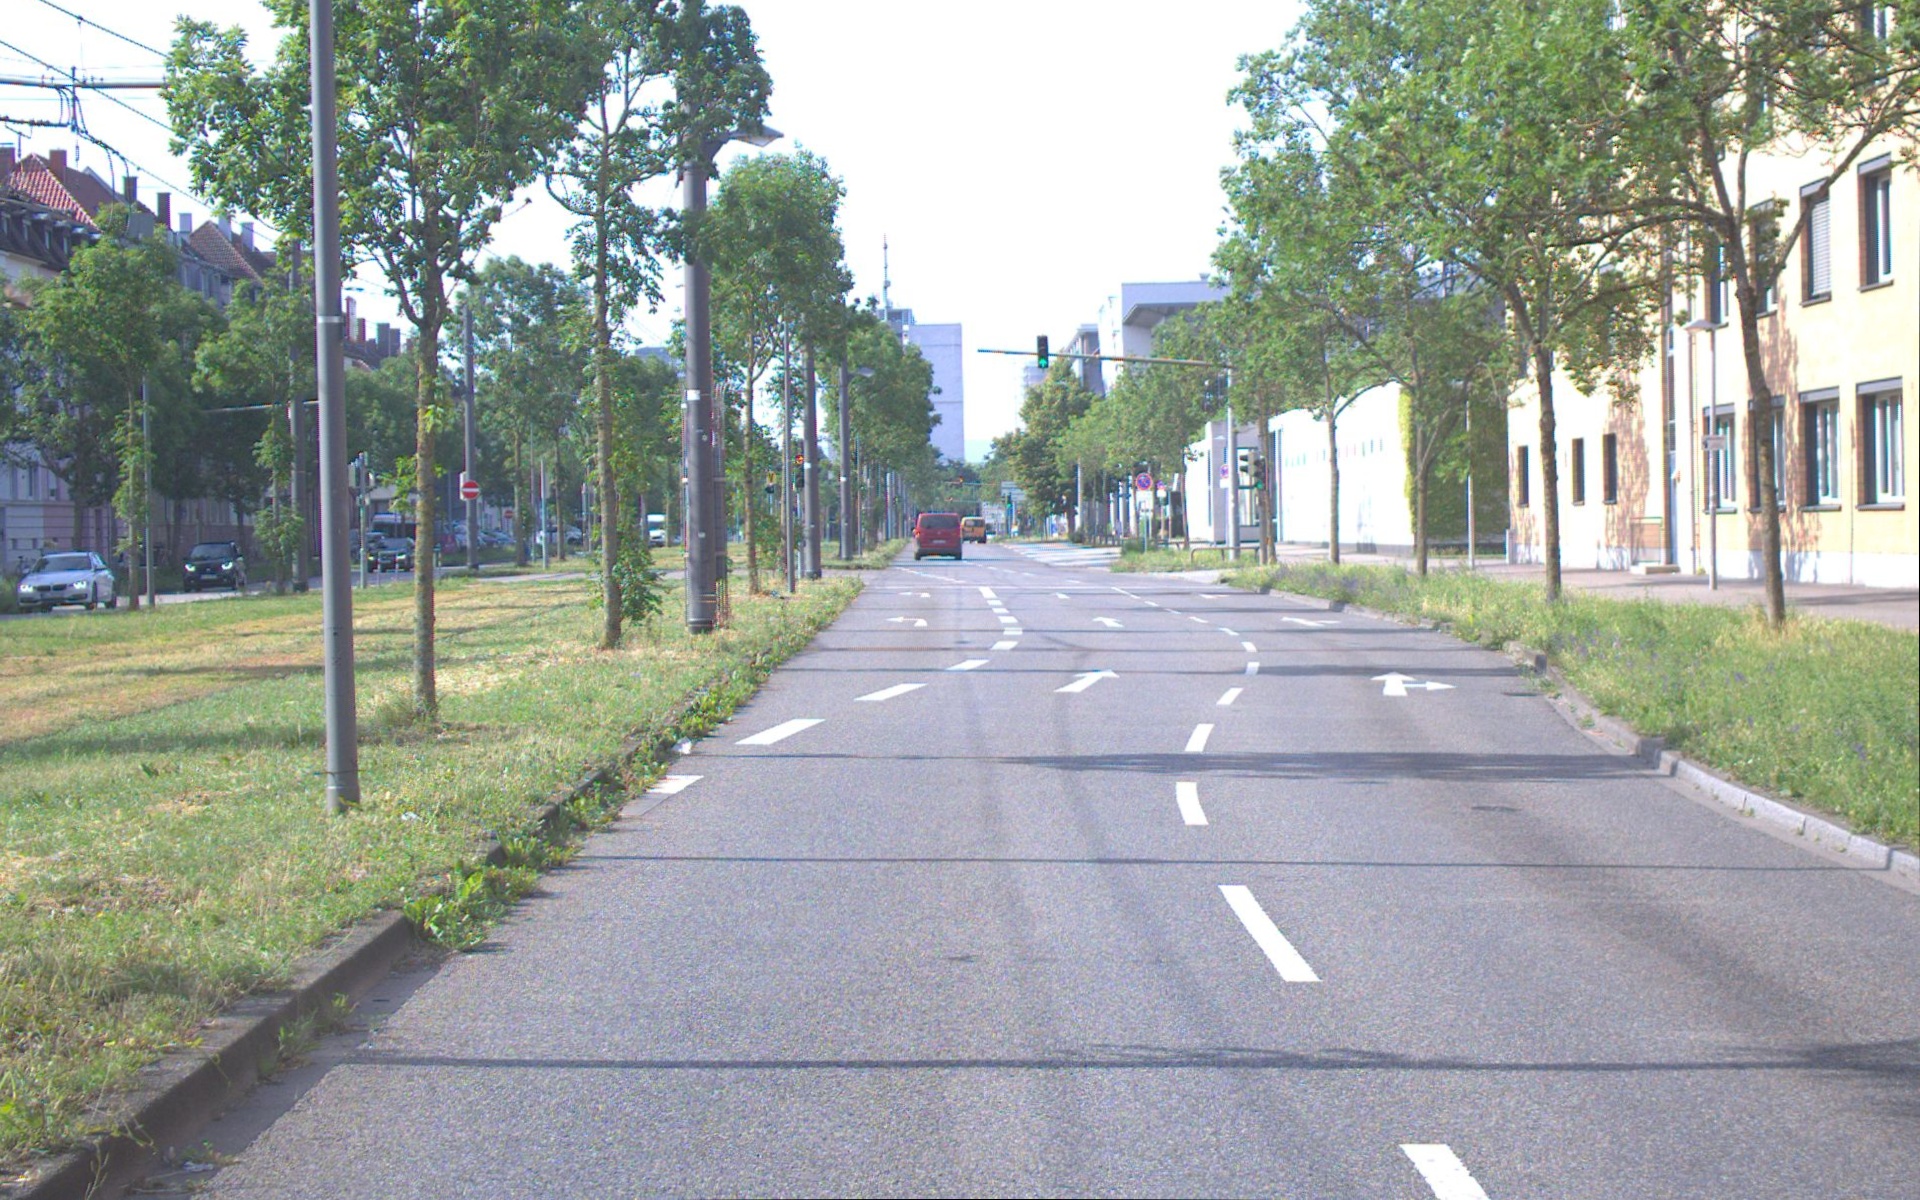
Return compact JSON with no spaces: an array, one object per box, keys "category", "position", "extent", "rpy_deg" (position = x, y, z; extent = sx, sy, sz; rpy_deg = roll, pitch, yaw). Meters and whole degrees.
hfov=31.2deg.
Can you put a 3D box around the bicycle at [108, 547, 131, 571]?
[{"category":"bicycle","position":[-31.357,-1.538,128.275],"extent":[0.447,0.854,1.948],"rpy_deg":[1,1,-2]}]

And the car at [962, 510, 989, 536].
[{"category":"car","position":[1.024,-5.022,224.124],"extent":[1.748,1.645,3.216],"rpy_deg":[1,1,0]}]

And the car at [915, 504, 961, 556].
[{"category":"car","position":[-0.879,-2.775,136.894],"extent":[1.748,2.007,3.216],"rpy_deg":[1,1,0]}]

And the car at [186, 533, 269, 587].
[{"category":"car","position":[-23.299,-1.282,109.446],"extent":[1.764,1.650,4.000],"rpy_deg":[1,1,0]}]

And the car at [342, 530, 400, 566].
[{"category":"car","position":[-24.649,-2.189,144.011],"extent":[1.812,1.428,3.926],"rpy_deg":[1,1,-1]}]

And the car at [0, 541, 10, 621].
[{"category":"car","position":[-20.471,-0.376,67.615],"extent":[1.993,1.624,5.380],"rpy_deg":[1,1,1]}]

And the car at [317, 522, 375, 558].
[{"category":"car","position":[-28.796,-2.823,161.454],"extent":[1.993,1.623,4.776],"rpy_deg":[1,1,-2]}]

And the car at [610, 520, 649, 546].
[{"category":"car","position":[-22.449,-4.564,233.582],"extent":[1.965,1.688,4.297],"rpy_deg":[1,1,3]}]

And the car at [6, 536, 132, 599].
[{"category":"car","position":[-21.612,-0.803,83.532],"extent":[1.947,1.454,4.649],"rpy_deg":[1,1,-2]}]

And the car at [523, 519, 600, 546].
[{"category":"car","position":[-27.710,-4.680,239.007],"extent":[5.320,1.732,1.996],"rpy_deg":[2,1,34]}]
